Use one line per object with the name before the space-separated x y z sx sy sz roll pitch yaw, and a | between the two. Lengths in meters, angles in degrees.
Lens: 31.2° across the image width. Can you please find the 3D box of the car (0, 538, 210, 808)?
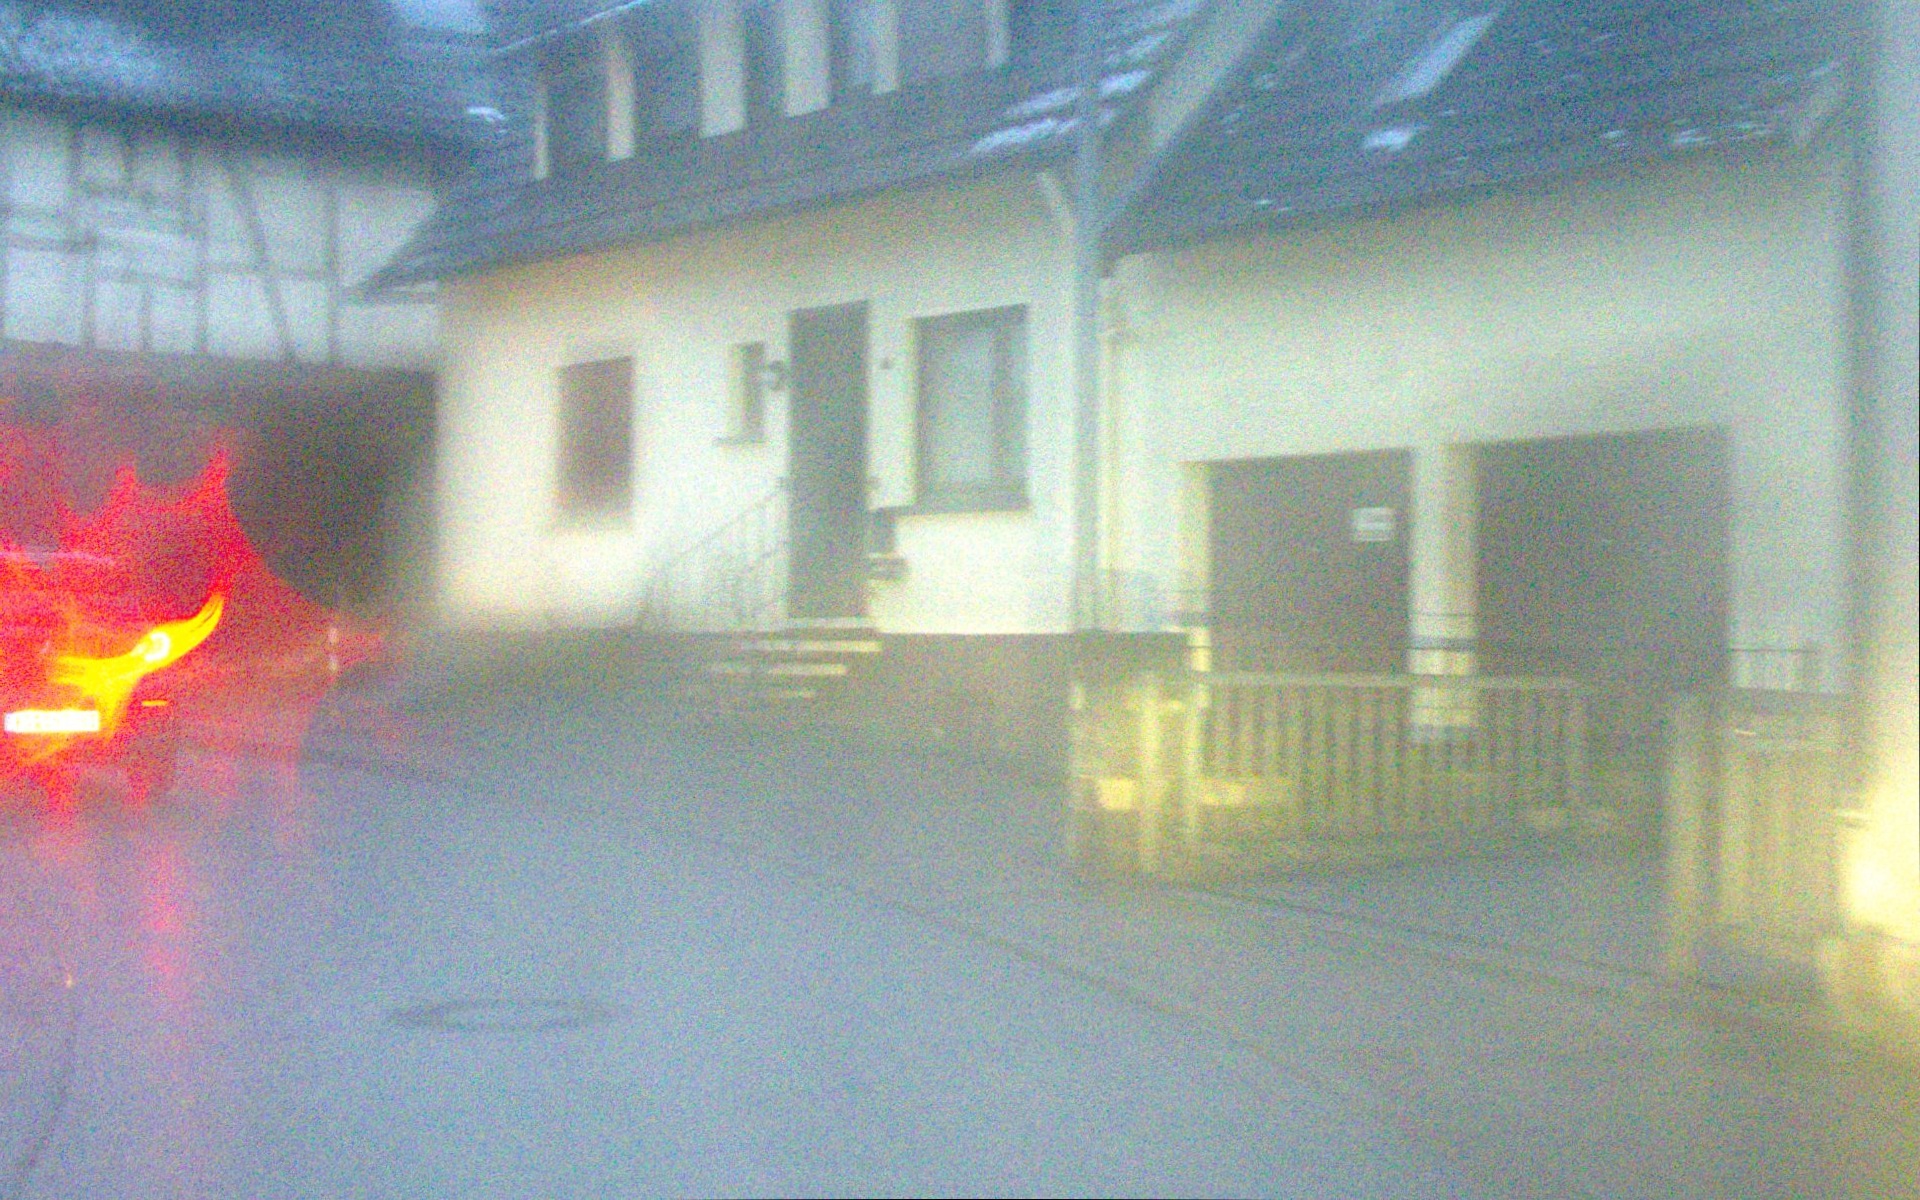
car | -5.825 0.363 20.456 1.546 1.461 3.699 1 1 -31
